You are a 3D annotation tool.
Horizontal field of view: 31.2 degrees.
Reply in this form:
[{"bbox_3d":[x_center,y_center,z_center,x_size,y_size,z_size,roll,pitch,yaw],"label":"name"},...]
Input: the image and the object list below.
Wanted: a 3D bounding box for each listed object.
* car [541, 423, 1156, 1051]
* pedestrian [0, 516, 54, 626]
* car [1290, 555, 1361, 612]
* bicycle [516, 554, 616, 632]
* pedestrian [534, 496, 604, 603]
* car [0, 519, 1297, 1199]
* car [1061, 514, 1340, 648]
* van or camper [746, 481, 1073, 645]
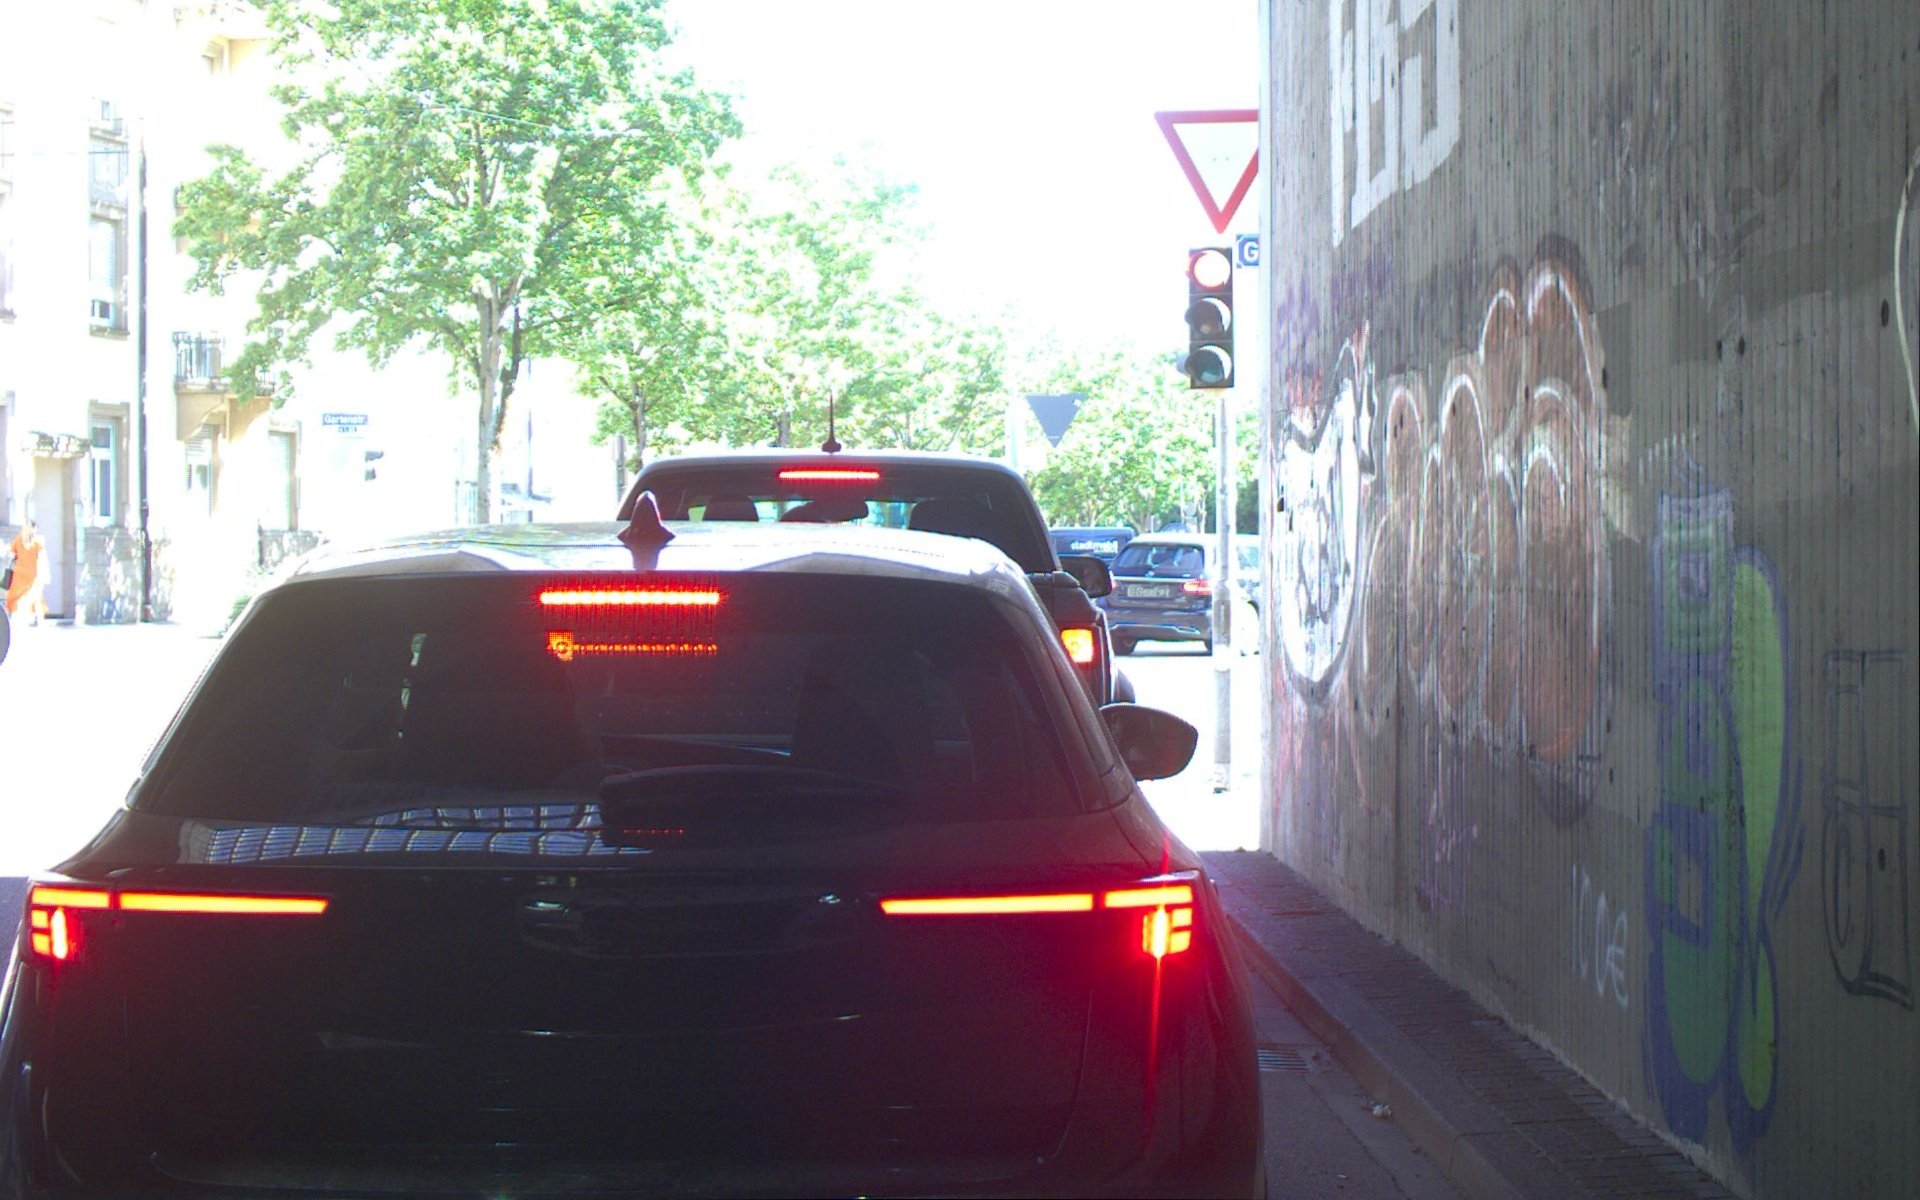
[{"bbox_3d":[-0.344,0.366,12.082,1.786,1.827,3.961,1,1,0],"label":"car"},{"bbox_3d":[-14.596,-0.454,53.613,0.623,1.699,0.723,1,0,13],"label":"pedestrian"},{"bbox_3d":[11.021,-0.504,103.913,1.994,1.635,4.592,0,1,5],"label":"car"},{"bbox_3d":[-5.867,-0.114,51.343,0.737,1.126,2.025,0,1,17],"label":"bicycle"},{"bbox_3d":[-5.841,-0.748,51.418,0.736,1.579,0.889,1,0,15],"label":"pedestrian"},{"bbox_3d":[-0.488,0.620,6.181,1.753,1.493,4.000,1,1,0],"label":"car"},{"bbox_3d":[3.010,-0.265,41.962,1.996,1.529,4.729,0,1,23],"label":"car"},{"bbox_3d":[-0.596,-0.474,43.397,3.878,2.007,2.000,0,1,7],"label":"van or camper"}]
